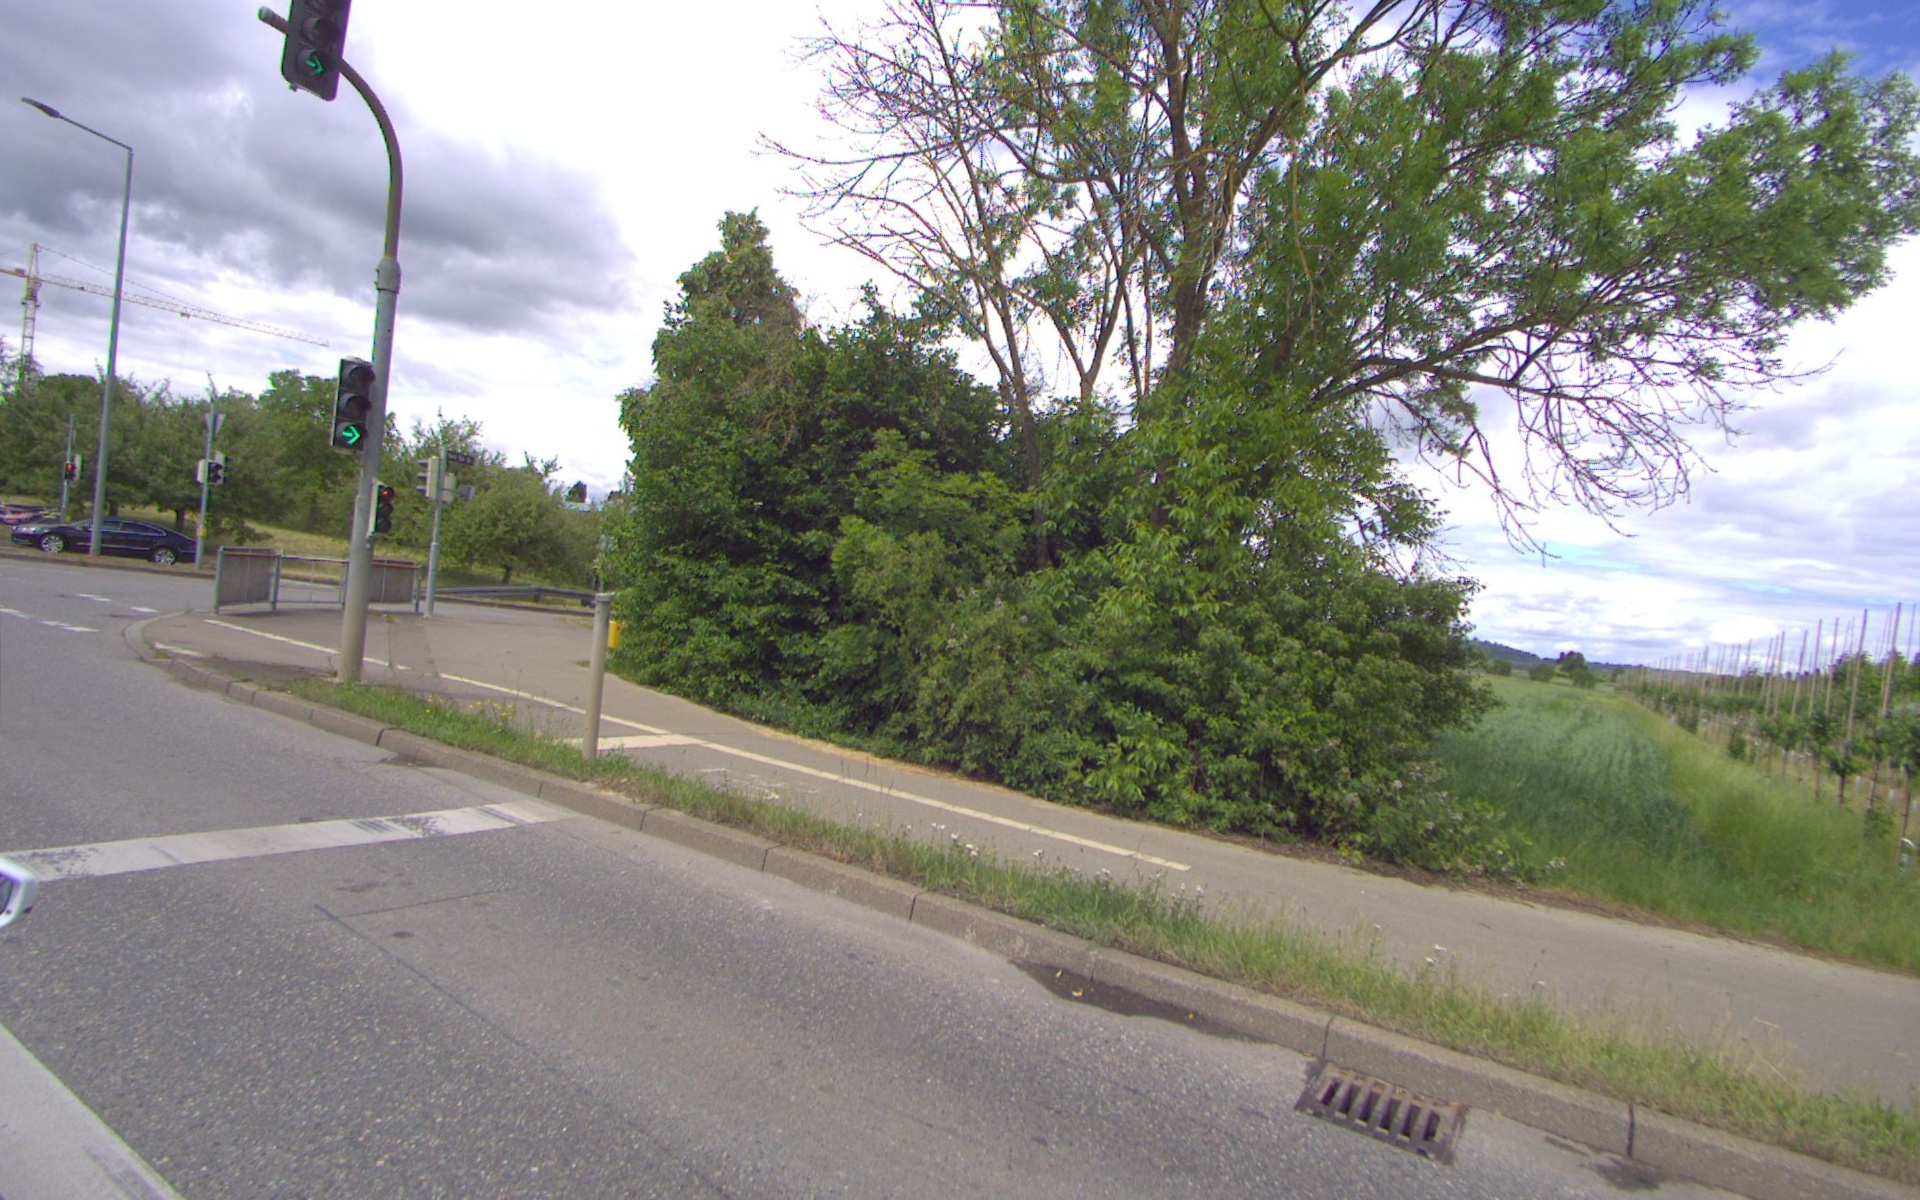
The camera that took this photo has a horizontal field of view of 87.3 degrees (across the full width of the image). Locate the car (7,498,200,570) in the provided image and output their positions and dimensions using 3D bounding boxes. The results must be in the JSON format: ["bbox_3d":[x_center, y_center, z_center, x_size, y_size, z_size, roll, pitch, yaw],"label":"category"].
[{"bbox_3d":[-27.337,-2.078,32.218,1.974,1.584,4.448,7,-1,44],"label":"car"}]

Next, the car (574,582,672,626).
[{"bbox_3d":[-15.582,0.196,46.692,1.735,1.463,3.877,6,-3,41],"label":"car"}]

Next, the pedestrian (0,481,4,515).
[{"bbox_3d":[-34.697,-3.384,35.524,1.024,1.813,0.721,7,-1,5],"label":"pedestrian"}]
